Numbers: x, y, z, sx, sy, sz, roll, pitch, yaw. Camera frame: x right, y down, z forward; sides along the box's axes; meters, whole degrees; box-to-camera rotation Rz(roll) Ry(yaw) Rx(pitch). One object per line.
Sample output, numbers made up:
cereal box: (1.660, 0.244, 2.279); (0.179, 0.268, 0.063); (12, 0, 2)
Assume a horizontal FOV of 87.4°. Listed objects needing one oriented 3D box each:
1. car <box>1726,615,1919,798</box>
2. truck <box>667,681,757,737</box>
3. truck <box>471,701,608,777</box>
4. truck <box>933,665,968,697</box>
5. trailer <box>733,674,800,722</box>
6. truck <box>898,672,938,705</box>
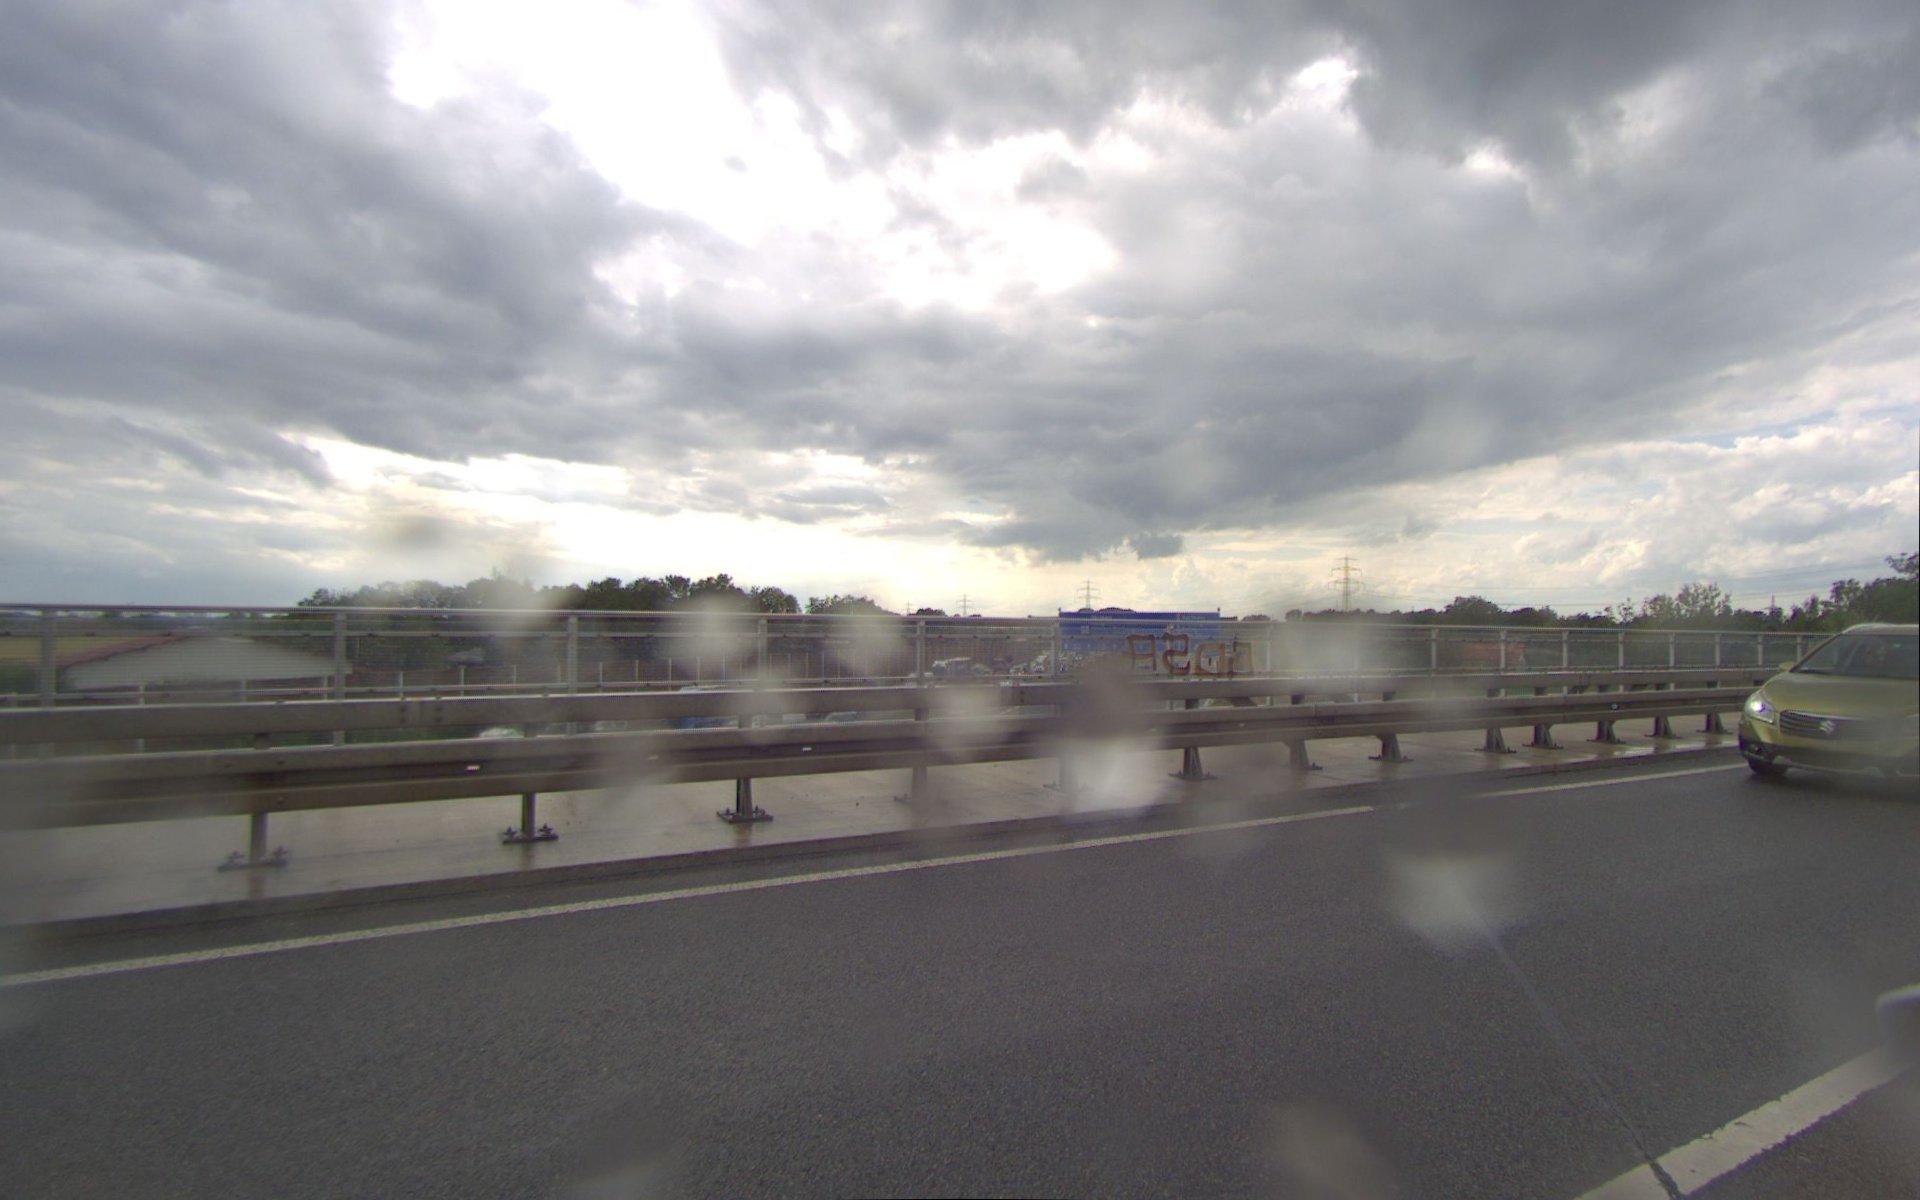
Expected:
car: (9.619, 1.004, 10.120); (3.815, 1.537, 1.705); (3, -1, -31)
truck: (-21.796, 9.495, 89.151); (2.388, 3.812, 11.174); (1, 0, 16)
truck: (-29.364, 9.640, 71.009); (2.388, 3.812, 11.174); (1, 0, 16)
truck: (-1.477, 12.930, 161.914); (2.388, 4.250, 11.174); (1, 0, 16)
trailer: (-18.938, 9.563, 99.013); (2.388, 3.812, 9.462); (1, 0, 16)
truck: (-6.008, 12.844, 146.111); (2.388, 3.812, 11.174); (1, 0, 16)
